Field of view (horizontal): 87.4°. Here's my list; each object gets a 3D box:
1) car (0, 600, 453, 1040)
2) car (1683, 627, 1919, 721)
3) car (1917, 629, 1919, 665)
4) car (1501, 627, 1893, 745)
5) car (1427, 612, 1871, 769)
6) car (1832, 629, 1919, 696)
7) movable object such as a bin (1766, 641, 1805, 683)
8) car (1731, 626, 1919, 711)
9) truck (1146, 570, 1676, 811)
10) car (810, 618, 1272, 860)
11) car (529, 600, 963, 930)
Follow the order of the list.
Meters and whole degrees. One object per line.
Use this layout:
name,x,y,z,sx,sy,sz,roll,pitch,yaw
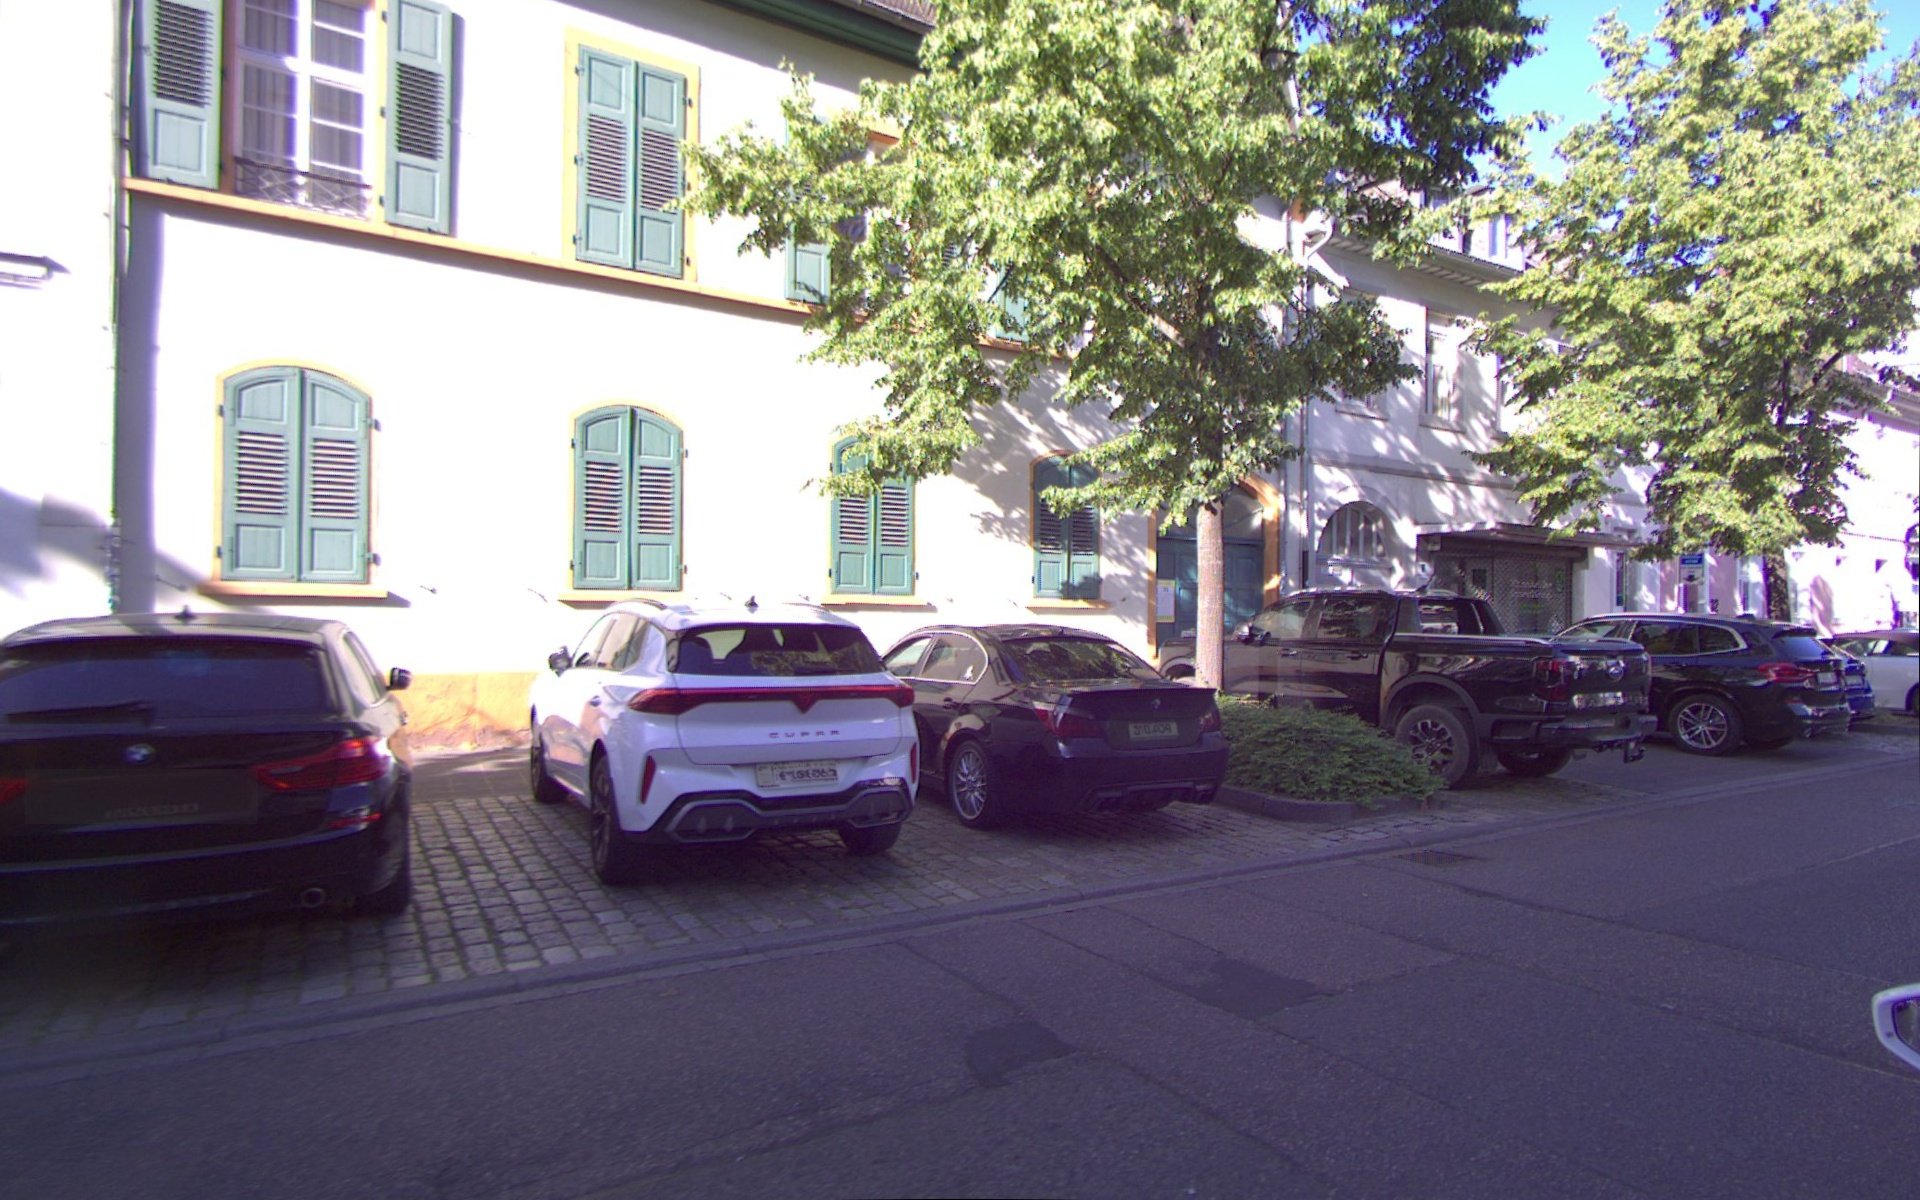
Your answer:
car,-4.098,0.799,5.789,1.787,1.539,4.657,1,-1,-31
car,15.760,1.250,17.651,1.789,1.484,4.653,1,-1,-33
car,44.778,2.056,44.011,3.939,1.632,1.991,-2,-3,39
car,11.211,1.198,15.711,1.786,1.482,4.661,1,-1,-28
car,8.940,1.036,13.550,1.786,1.716,4.661,1,-1,-28
car,22.355,1.405,21.979,1.789,1.431,4.653,1,-1,-33
movable object such as a bin,21.516,1.602,26.191,0.538,1.074,0.629,1,-2,-29
car,17.823,1.282,19.145,1.789,1.484,4.653,1,-1,-33
truck,4.450,0.821,10.901,1.977,1.964,5.060,1,-2,-30
car,0.340,0.921,8.775,1.786,1.482,4.661,1,-1,-28
car,-1.906,0.836,7.349,1.786,1.593,4.659,1,-1,-30
